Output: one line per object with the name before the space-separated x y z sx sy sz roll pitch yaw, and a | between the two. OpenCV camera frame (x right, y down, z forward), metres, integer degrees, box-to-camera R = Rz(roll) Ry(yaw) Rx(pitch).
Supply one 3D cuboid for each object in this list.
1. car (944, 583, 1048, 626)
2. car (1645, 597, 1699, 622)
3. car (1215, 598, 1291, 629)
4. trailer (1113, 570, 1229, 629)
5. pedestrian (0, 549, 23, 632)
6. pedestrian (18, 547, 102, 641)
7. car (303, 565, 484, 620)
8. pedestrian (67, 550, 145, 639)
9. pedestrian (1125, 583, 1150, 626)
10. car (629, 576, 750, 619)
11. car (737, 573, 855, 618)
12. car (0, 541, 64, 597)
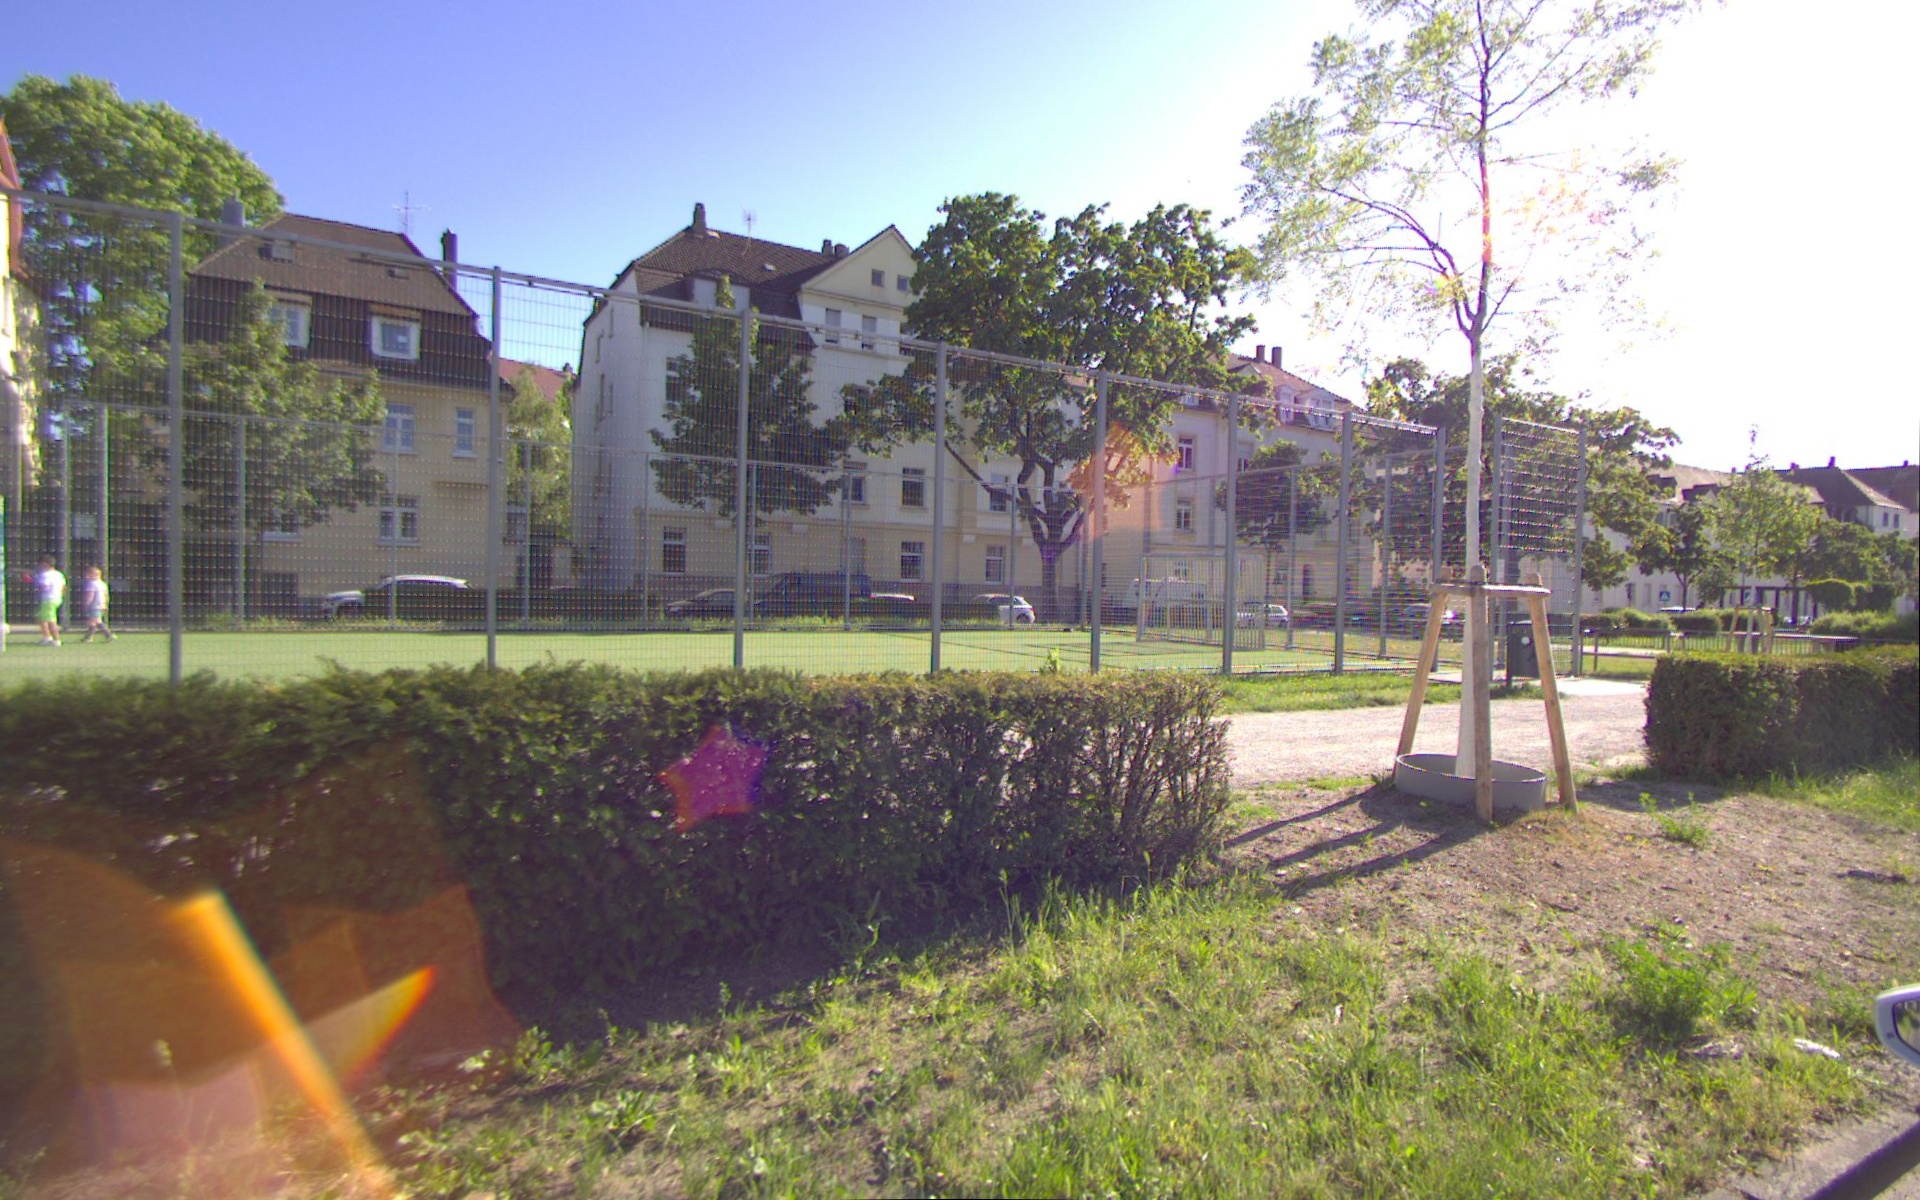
car | 1.669 0.215 45.983 4.436 1.801 1.785 1 2 -31
car | 52.642 0.710 74.293 3.954 1.674 1.785 1 1 -31
car | 16.124 0.745 55.270 3.953 1.530 1.785 1 2 -30
trailer | 10.963 -0.011 52.057 5.737 2.909 2.331 1 2 -31
pedestrian | -15.822 -0.158 16.287 0.637 1.336 0.650 2 1 -1
pedestrian | -13.231 -0.090 14.786 0.637 1.336 0.650 2 1 -1
car | -18.789 -0.243 33.517 5.122 1.674 1.872 1 2 -31
pedestrian | -13.253 -0.091 15.605 0.637 1.336 0.650 2 1 -1
pedestrian | 7.040 0.170 39.845 0.642 1.683 0.645 1 0 -30
car | -10.463 -0.106 38.915 4.182 1.530 1.785 1 2 -31
car | -6.067 -0.157 37.296 3.953 1.530 1.785 1 2 -30
car | -27.932 -0.922 28.120 3.953 1.530 1.785 1 2 -30
